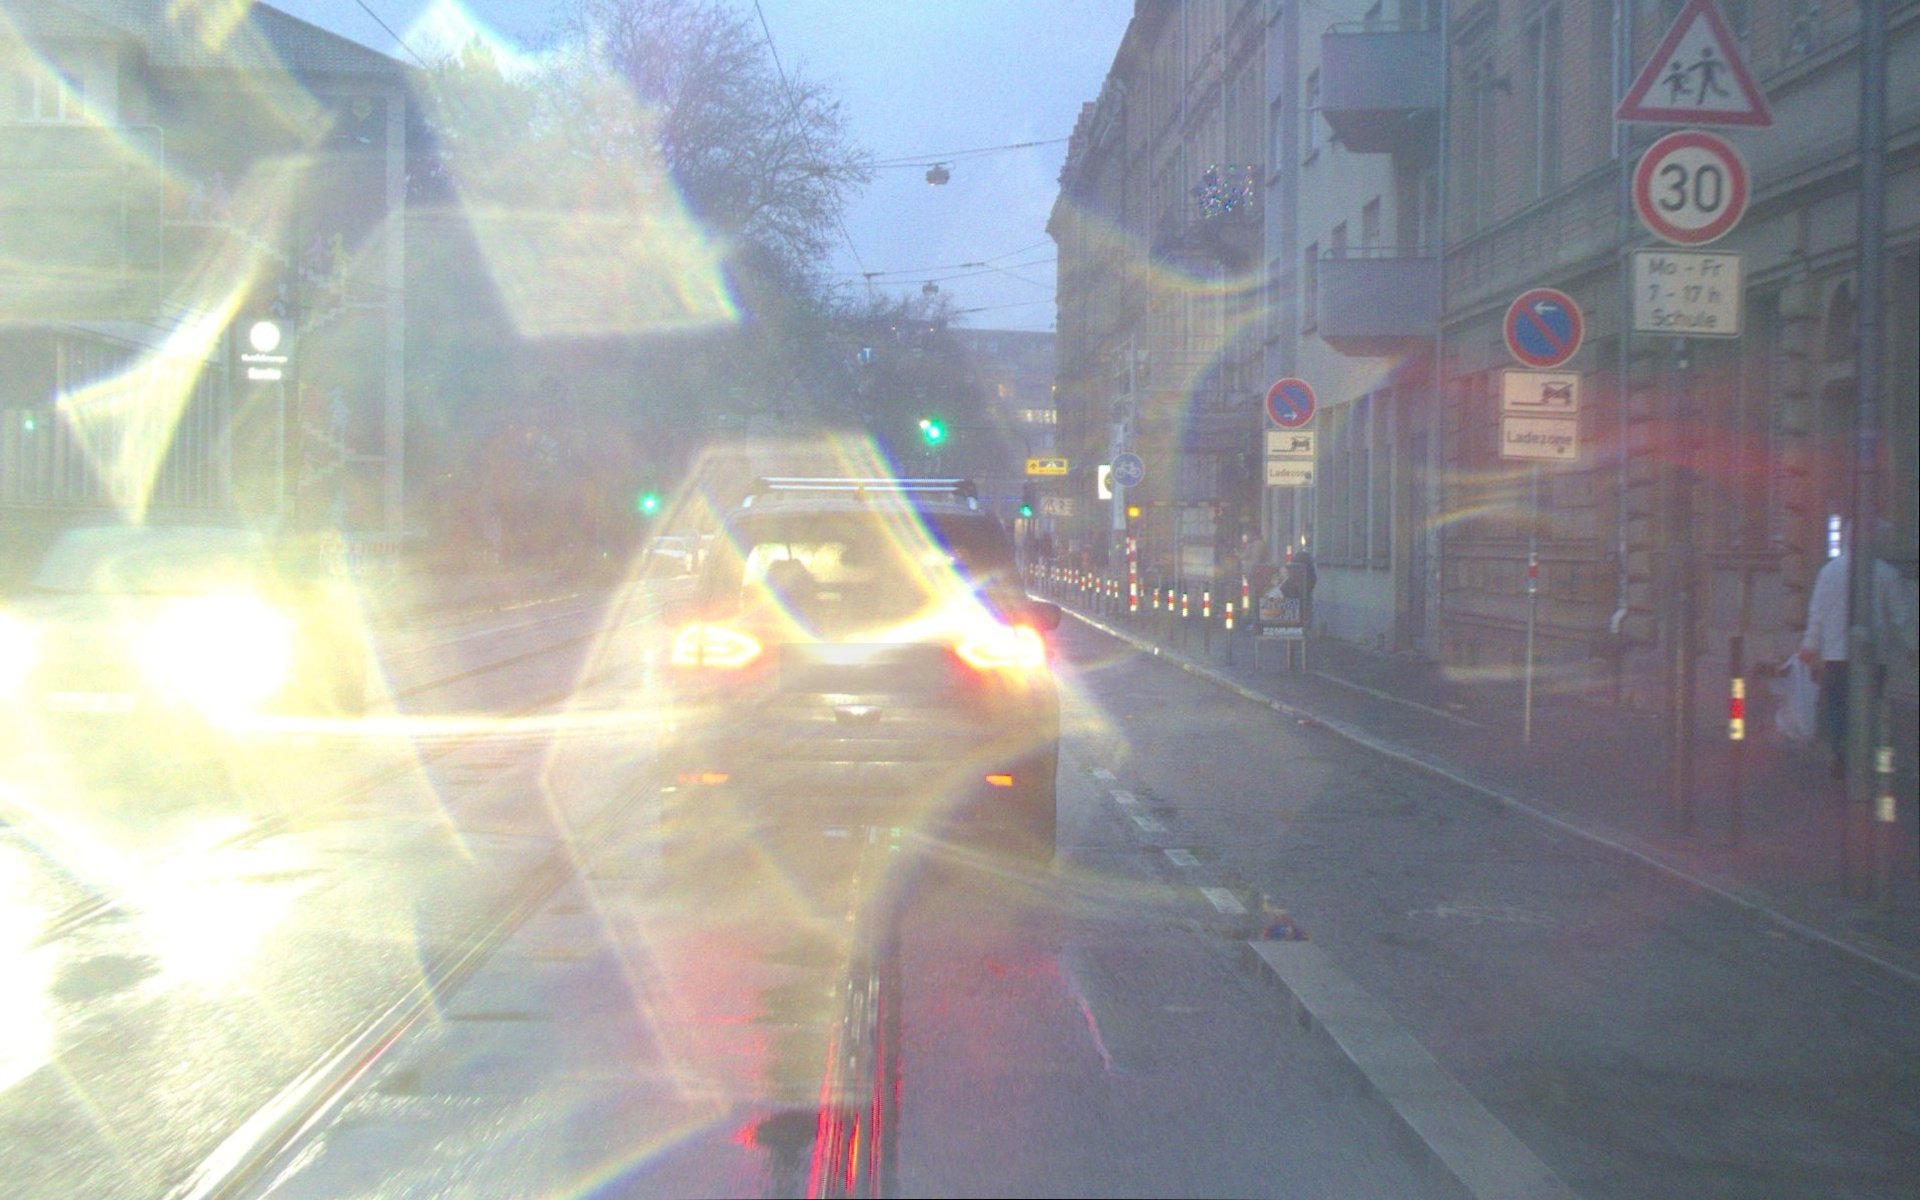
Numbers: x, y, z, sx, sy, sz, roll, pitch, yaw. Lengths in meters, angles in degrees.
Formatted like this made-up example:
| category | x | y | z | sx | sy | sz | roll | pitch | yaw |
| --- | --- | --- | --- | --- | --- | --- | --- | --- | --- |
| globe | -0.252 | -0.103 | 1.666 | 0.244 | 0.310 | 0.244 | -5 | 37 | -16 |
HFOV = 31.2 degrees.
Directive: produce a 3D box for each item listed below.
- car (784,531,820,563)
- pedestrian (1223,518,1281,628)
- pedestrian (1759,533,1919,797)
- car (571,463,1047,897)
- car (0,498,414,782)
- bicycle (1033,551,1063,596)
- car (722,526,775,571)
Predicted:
| category | x | y | z | sx | sy | sz | roll | pitch | yaw |
| --- | --- | --- | --- | --- | --- | --- | --- | --- | --- |
| car | -7.324 | -2.477 | 160.046 | 1.530 | 1.476 | 3.561 | 1 | 1 | -1 |
| pedestrian | 4.887 | -0.455 | 57.579 | 0.598 | 1.812 | 0.776 | 1 | 0 | -28 |
| pedestrian | 5.417 | 0.387 | 21.184 | 0.786 | 1.592 | 0.742 | 1 | 1 | 0 |
| car | -0.606 | 0.314 | 16.844 | 1.993 | 1.835 | 4.000 | 1 | 1 | 2 |
| car | -4.715 | 0.185 | 21.476 | 1.841 | 1.573 | 4.442 | 1 | 1 | 1 |
| bicycle | 2.332 | -0.696 | 90.943 | 0.684 | 1.152 | 2.188 | 2 | 1 | -1 |
| car | -8.137 | -1.987 | 132.710 | 1.875 | 1.704 | 4.761 | 0 | 1 | -2 |
